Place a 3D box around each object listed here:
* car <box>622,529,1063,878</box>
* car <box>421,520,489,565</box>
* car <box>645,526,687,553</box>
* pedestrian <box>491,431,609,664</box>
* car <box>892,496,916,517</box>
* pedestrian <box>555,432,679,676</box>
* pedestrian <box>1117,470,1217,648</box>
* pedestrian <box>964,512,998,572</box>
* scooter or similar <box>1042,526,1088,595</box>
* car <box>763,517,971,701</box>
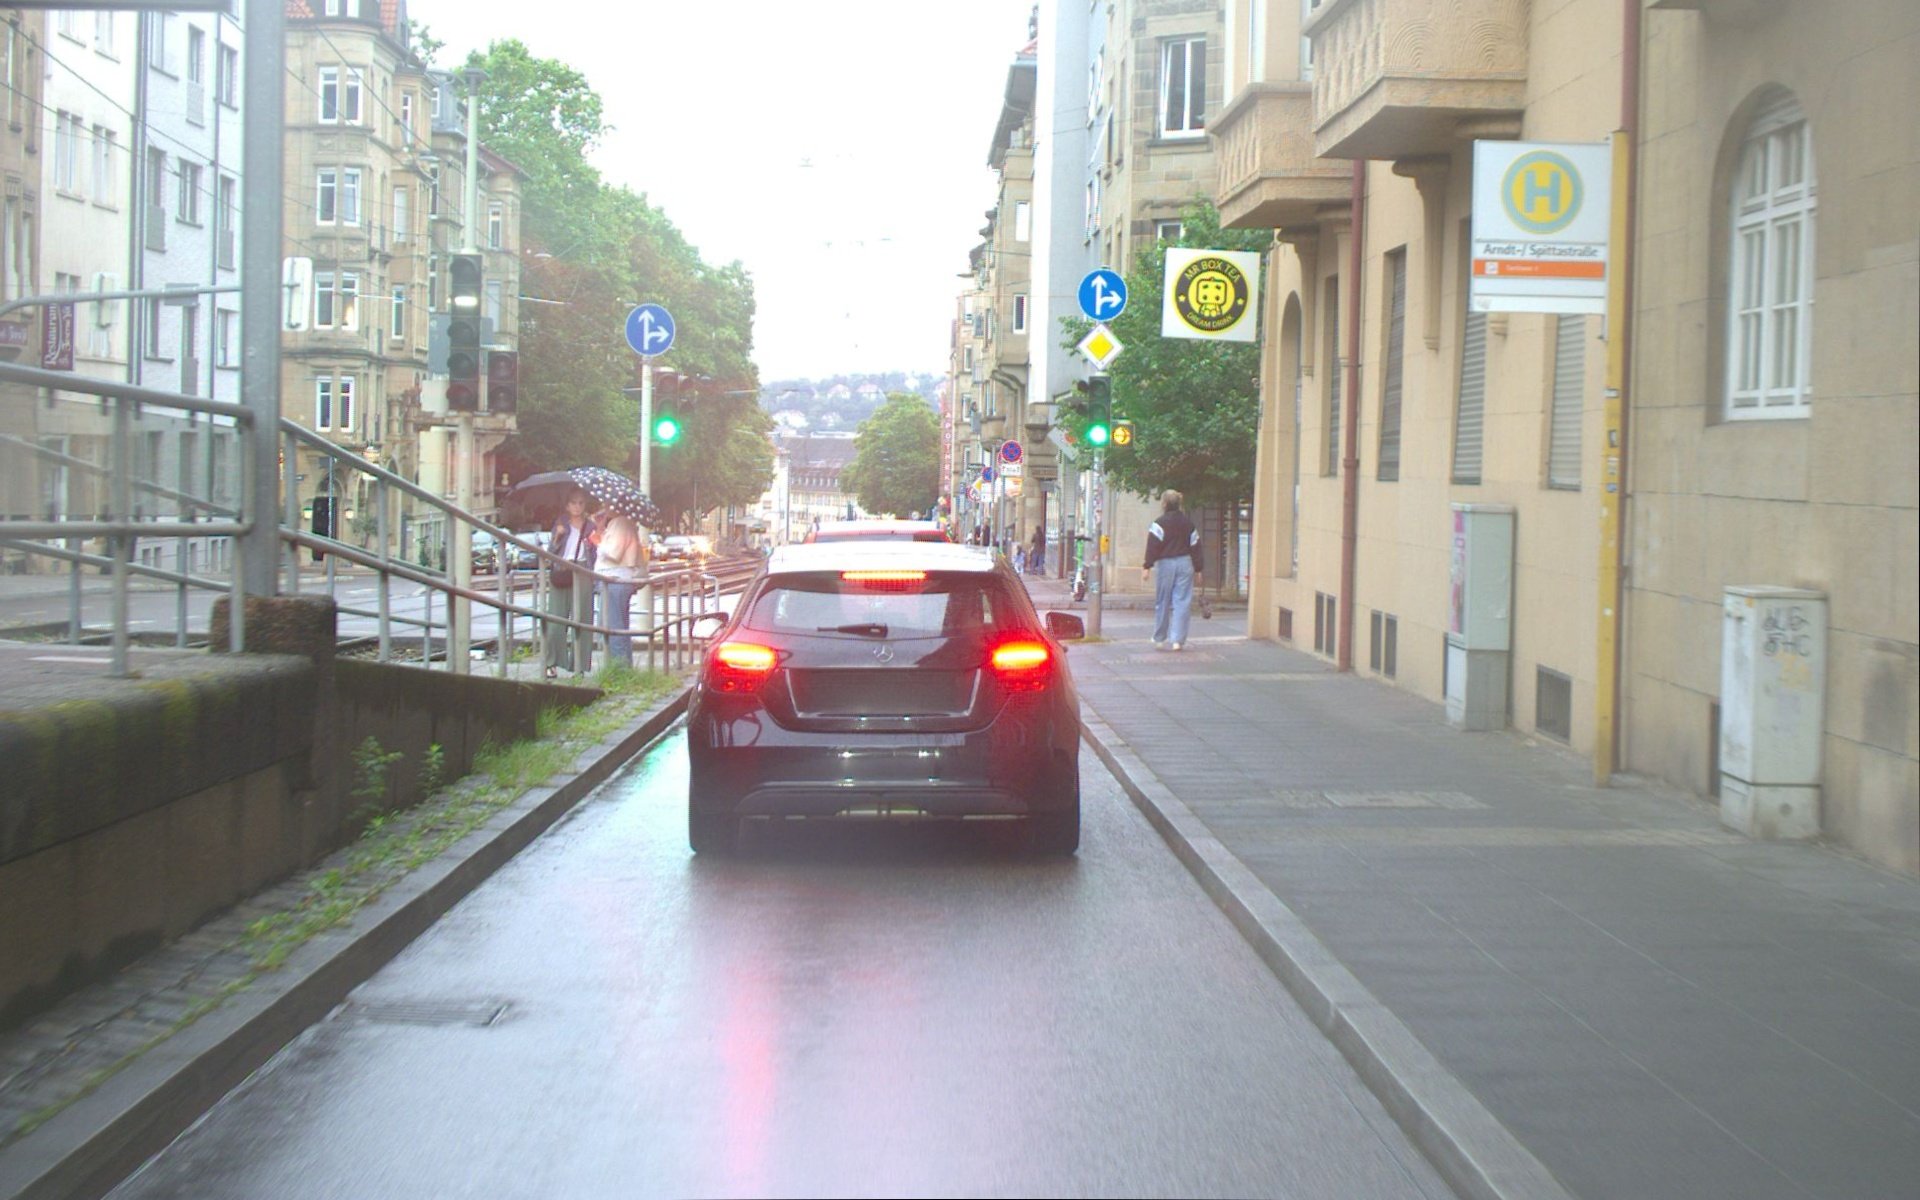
[{"bbox_3d":[-0.473,0.402,16.717,1.866,1.447,4.000,1,1,1],"label":"car"},{"bbox_3d":[-17.534,-2.002,119.535,1.722,1.536,3.934,0,1,1],"label":"car"},{"bbox_3d":[-15.933,-3.272,186.366,1.948,1.392,4.274,-1,1,0],"label":"car"},{"bbox_3d":[-3.611,-0.464,30.371,0.897,2.007,0.947,1,1,-1],"label":"pedestrian"},{"bbox_3d":[-3.806,-6.336,233.282,1.613,1.313,4.000,2,1,-1],"label":"car"},{"bbox_3d":[-2.892,-0.392,29.062,0.926,2.007,0.947,1,1,-1],"label":"pedestrian"},{"bbox_3d":[2.208,-0.445,36.769,0.899,1.834,0.968,-3,1,-1],"label":"pedestrian"},{"bbox_3d":[0.630,-1.722,102.046,0.945,1.763,1.015,0,1,-3],"label":"pedestrian"},{"bbox_3d":[1.860,-0.703,61.085,0.638,1.206,1.553,0,1,-5],"label":"scooter or similar"},{"bbox_3d":[-0.755,0.024,29.653,1.649,1.447,4.000,1,1,0],"label":"car"}]
